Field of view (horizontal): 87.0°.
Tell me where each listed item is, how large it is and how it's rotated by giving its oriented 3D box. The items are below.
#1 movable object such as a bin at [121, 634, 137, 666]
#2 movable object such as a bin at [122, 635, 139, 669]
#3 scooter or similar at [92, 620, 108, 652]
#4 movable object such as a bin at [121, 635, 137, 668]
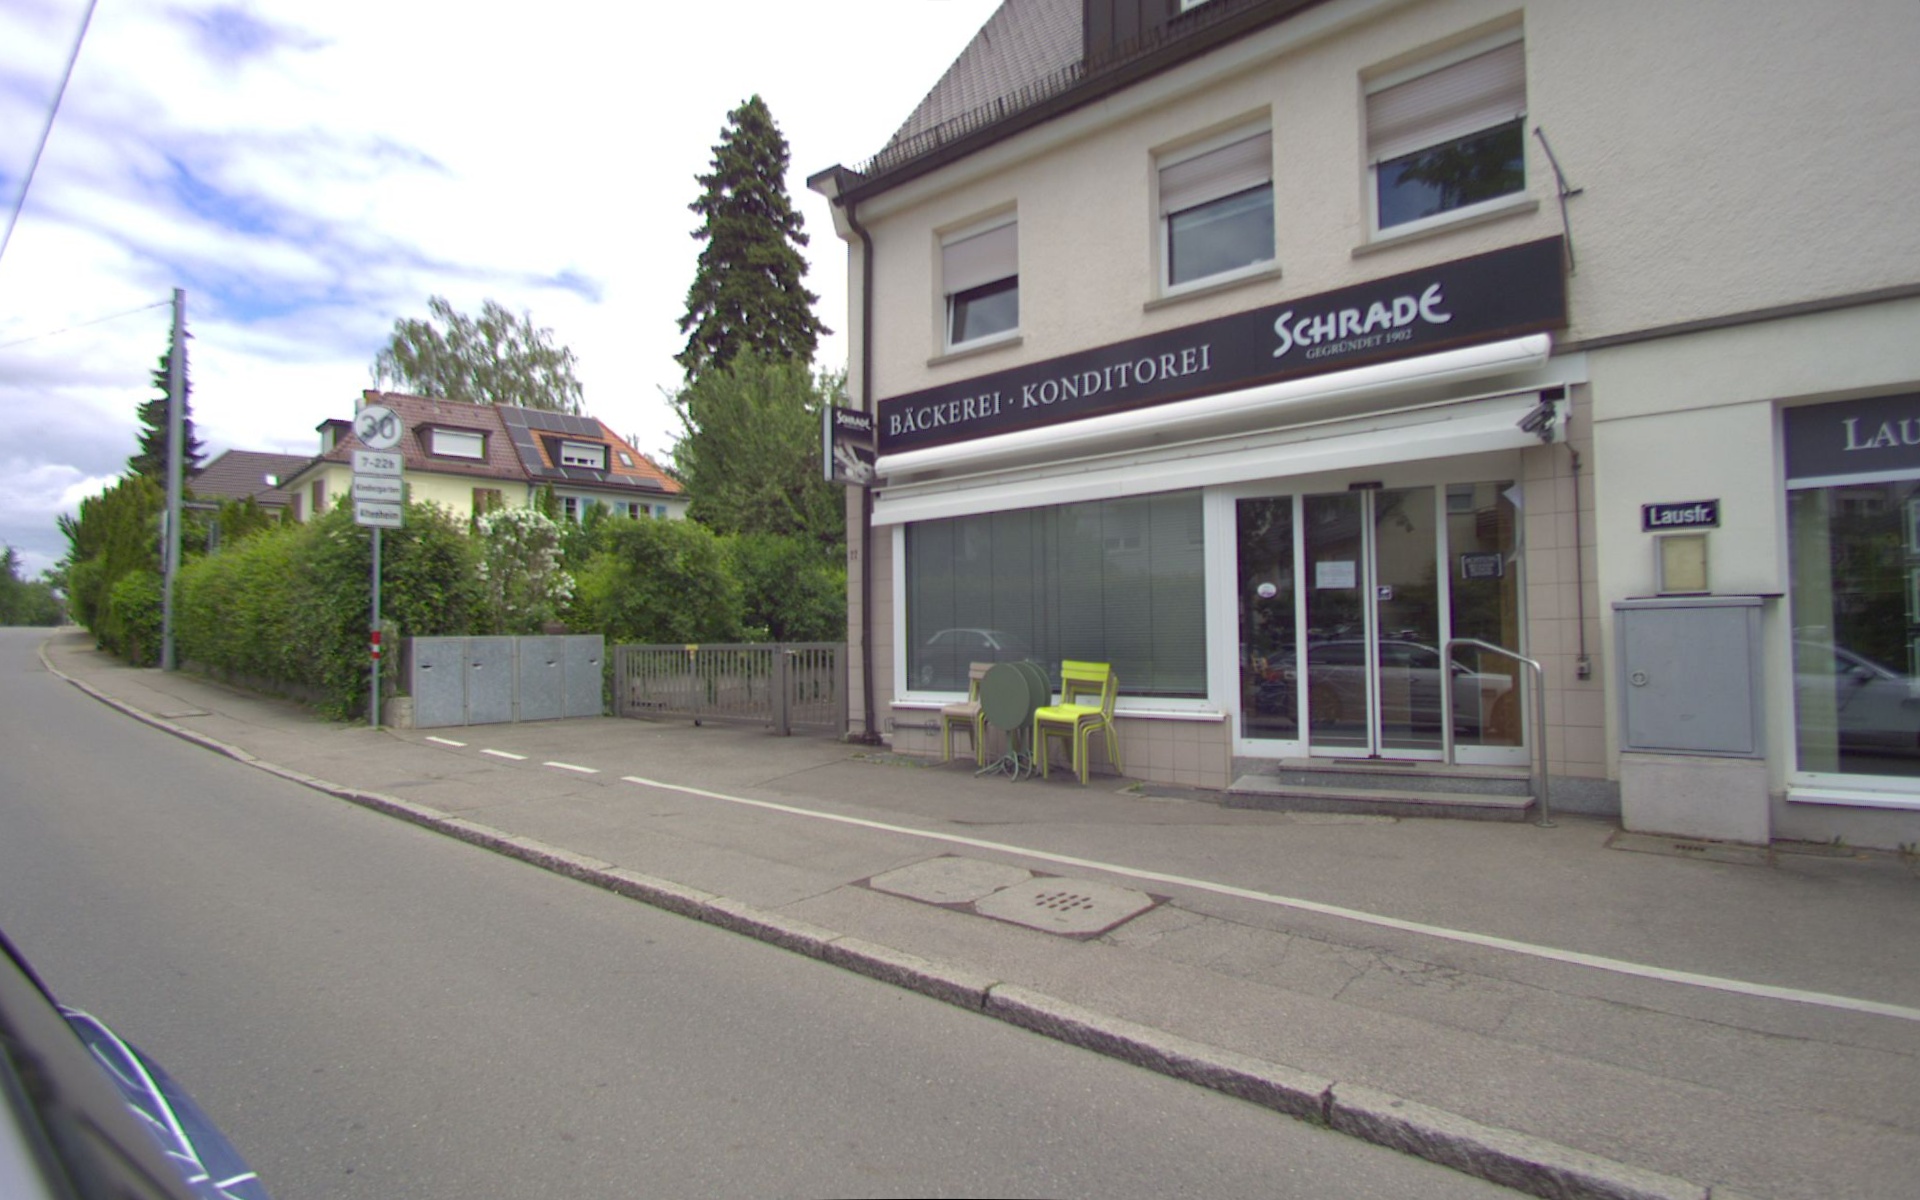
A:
[{"bbox_3d":[-23.429,1.407,28.545,0.332,0.900,0.477,0,0,-41],"label":"movable object such as a bin"},{"bbox_3d":[-22.682,1.408,27.667,0.332,0.900,0.477,0,0,-41],"label":"movable object such as a bin"},{"bbox_3d":[-31.880,1.329,37.516,0.387,1.180,1.271,1,-1,-43],"label":"scooter or similar"},{"bbox_3d":[-23.032,1.425,28.052,0.332,0.900,0.477,0,0,-41],"label":"movable object such as a bin"}]
